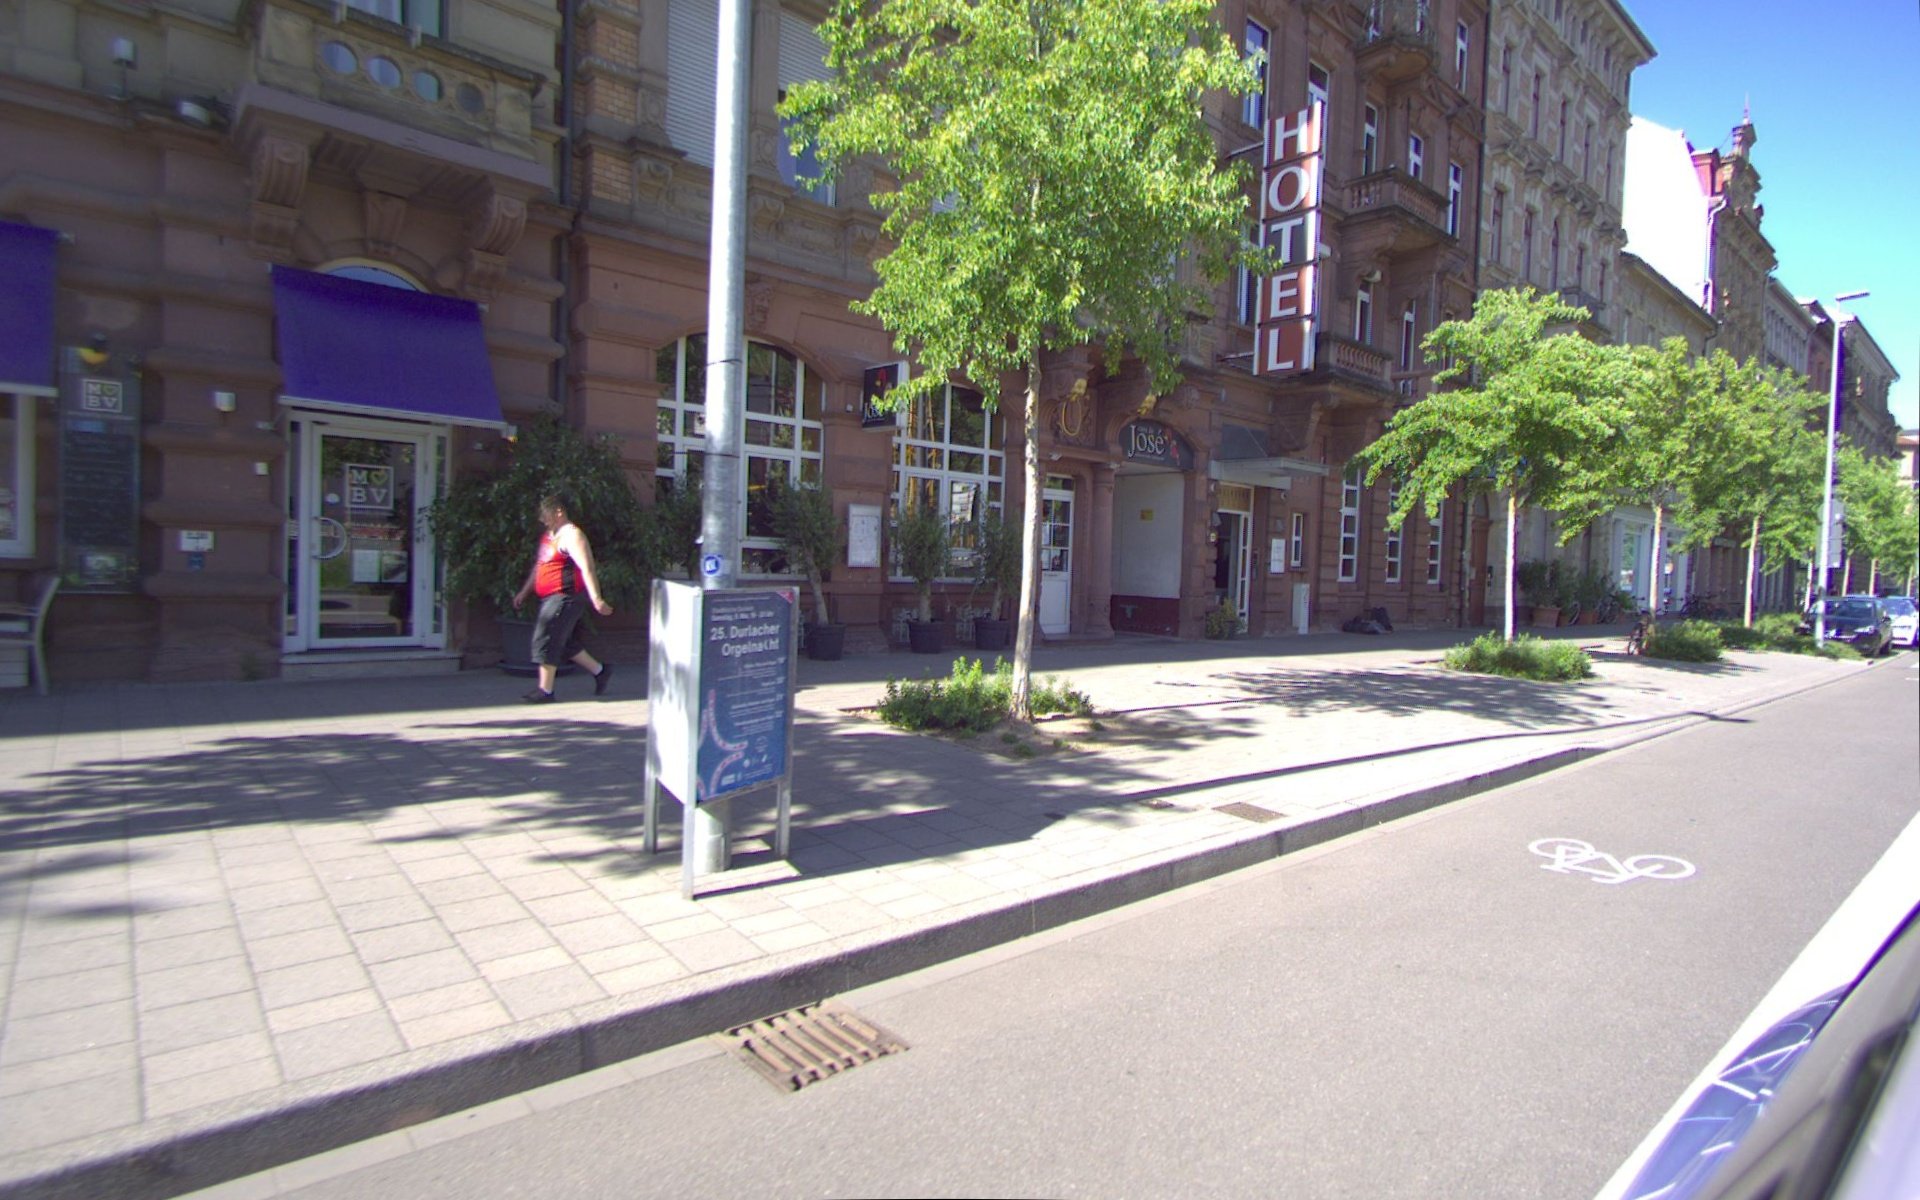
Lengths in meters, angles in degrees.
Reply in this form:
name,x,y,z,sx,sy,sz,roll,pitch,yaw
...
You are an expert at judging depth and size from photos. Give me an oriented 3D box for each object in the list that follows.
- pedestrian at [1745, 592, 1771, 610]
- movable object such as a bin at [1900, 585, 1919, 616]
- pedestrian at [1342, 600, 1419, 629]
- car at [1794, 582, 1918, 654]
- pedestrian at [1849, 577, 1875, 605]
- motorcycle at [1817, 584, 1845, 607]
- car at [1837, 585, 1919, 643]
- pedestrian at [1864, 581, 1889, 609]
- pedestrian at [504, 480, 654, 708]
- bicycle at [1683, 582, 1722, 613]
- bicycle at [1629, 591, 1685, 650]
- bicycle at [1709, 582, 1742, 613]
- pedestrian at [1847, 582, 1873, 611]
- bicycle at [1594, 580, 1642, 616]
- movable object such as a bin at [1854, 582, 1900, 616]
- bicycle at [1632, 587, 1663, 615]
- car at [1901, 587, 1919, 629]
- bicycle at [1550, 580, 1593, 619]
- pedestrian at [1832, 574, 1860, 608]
name,x,y,z,sx,sy,sz,roll,pitch,yaw
pedestrian,37.668,0.049,47.778,0.867,0.828,0.968,1,2,35
movable object such as a bin,46.258,0.041,48.658,1.613,1.482,1.275,3,0,-37
pedestrian,9.205,0.307,22.124,1.973,0.560,0.774,0,3,-42
car,23.469,0.393,26.462,4.149,1.588,1.888,-1,6,-42
pedestrian,57.519,-0.567,64.537,1.094,1.712,0.972,0,4,-40
motorcycle,50.731,-0.287,58.949,2.931,1.282,0.867,-1,2,-42
car,28.461,0.375,30.808,5.017,1.513,1.956,-1,5,-42
pedestrian,54.574,-0.275,60.252,1.061,1.585,0.952,1,2,-42
pedestrian,-3.174,-0.083,8.407,0.851,1.752,0.998,-1,4,-42
bicycle,29.685,-0.111,40.445,2.146,1.118,0.877,-1,6,-45
bicycle,14.877,0.403,21.571,0.650,1.133,2.139,5,4,42
bicycle,32.030,-0.125,42.339,1.770,1.215,0.749,-1,4,-42
pedestrian,53.701,-0.231,60.381,0.975,1.659,0.973,1,3,-42
bicycle,21.543,-0.068,33.133,2.161,1.103,0.722,0,4,-42
movable object such as a bin,45.084,-0.059,49.748,1.718,1.513,1.377,-1,5,-41
bicycle,24.693,0.048,36.320,1.978,0.957,0.448,2,0,-42
car,37.782,0.321,39.120,4.377,1.494,1.768,-2,6,-45
bicycle,18.337,-0.034,30.313,2.021,1.103,0.482,0,3,-42
pedestrian,52.251,-0.552,59.676,1.077,1.942,0.893,0,4,-37
